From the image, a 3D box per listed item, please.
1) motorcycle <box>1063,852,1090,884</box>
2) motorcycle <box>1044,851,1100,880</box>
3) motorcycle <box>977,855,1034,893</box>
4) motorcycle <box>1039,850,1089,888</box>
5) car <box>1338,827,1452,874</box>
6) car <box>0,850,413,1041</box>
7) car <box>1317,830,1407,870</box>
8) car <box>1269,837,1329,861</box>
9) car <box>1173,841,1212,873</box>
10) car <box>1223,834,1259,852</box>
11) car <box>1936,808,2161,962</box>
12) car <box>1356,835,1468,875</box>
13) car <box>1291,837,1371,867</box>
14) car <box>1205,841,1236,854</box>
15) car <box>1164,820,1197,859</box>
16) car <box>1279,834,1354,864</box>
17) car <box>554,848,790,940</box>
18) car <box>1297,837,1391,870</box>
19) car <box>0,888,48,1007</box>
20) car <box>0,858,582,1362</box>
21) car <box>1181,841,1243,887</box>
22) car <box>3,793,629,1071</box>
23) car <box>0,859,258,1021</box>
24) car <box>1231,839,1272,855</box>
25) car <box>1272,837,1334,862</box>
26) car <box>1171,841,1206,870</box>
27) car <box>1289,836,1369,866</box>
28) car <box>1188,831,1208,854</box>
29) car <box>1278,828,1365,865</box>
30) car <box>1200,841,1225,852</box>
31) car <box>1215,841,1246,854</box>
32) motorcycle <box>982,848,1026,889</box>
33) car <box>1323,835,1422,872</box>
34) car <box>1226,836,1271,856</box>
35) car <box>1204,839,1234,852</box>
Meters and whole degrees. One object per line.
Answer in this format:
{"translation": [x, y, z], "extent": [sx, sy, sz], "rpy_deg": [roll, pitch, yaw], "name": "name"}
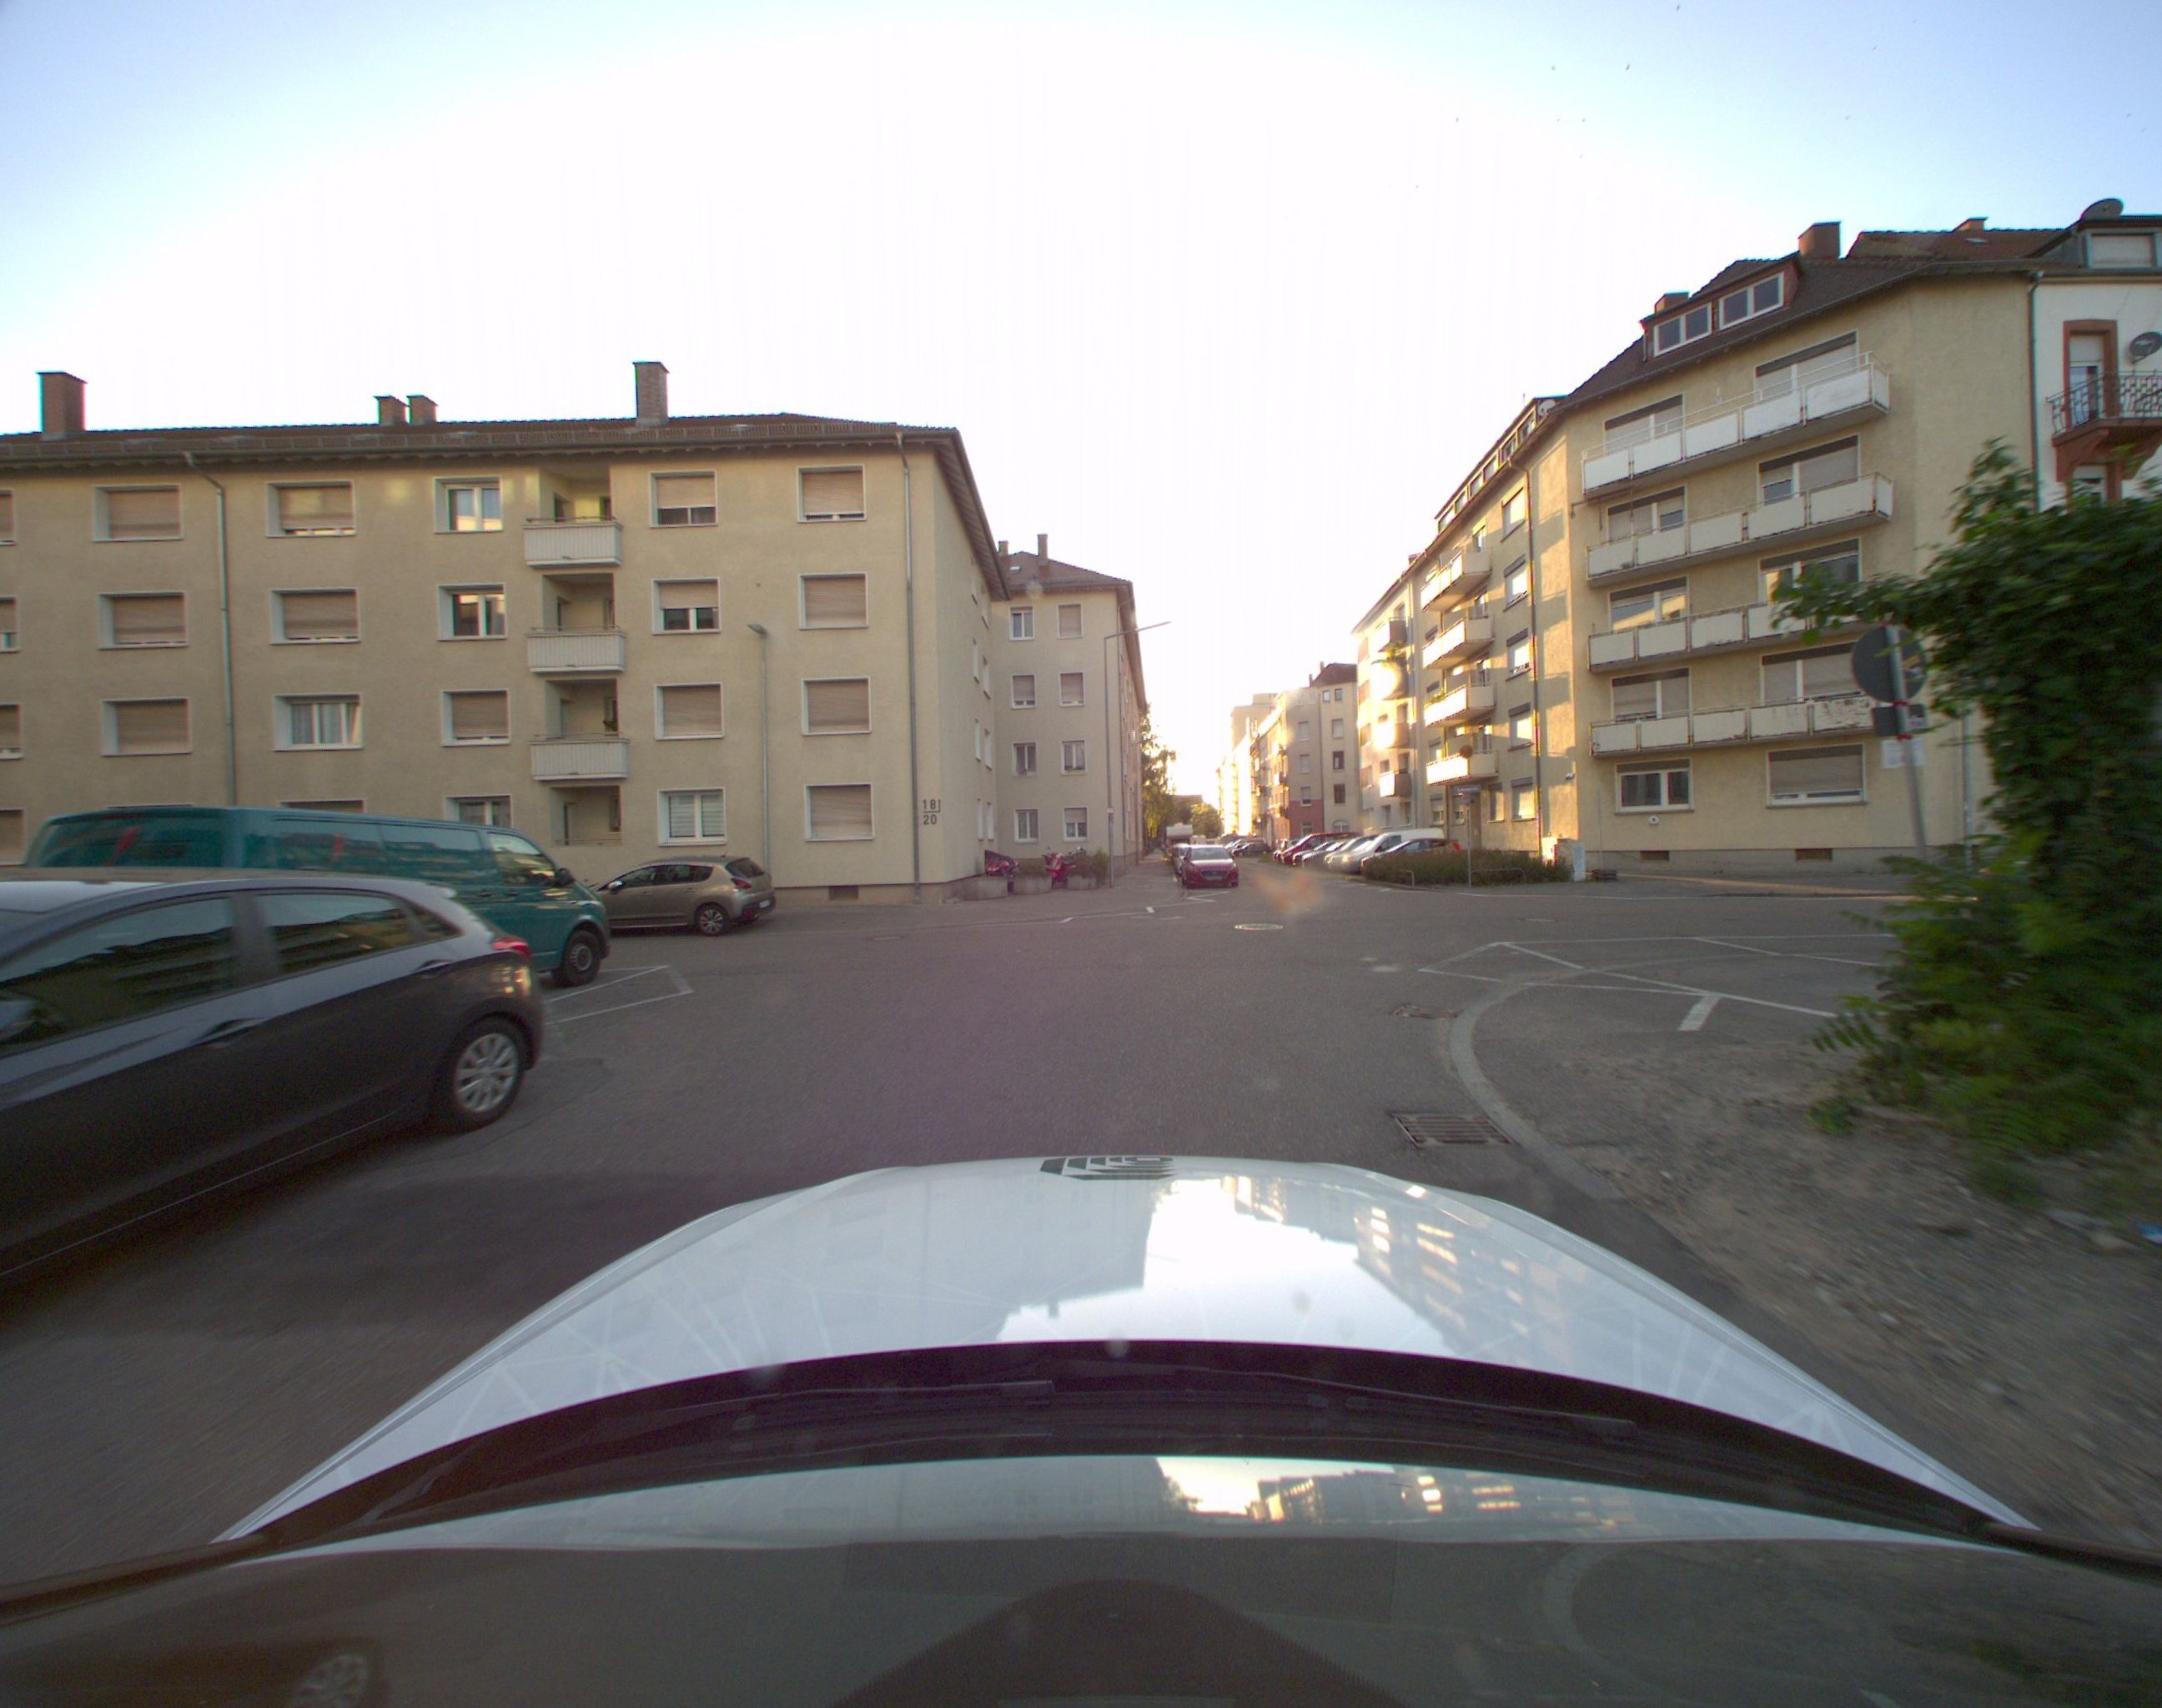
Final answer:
{"translation": [-0.154, 0.487, 29.672], "extent": [0.678, 1.079, 2.038], "rpy_deg": [-1, 0, 7], "name": "motorcycle"}
{"translation": [-0.349, 0.457, 31.896], "extent": [2.107, 1.105, 0.563], "rpy_deg": [-1, 0, 17], "name": "motorcycle"}
{"translation": [-2.283, 0.592, 24.982], "extent": [0.716, 1.079, 2.093], "rpy_deg": [-1, 0, 26], "name": "motorcycle"}
{"translation": [-0.551, 0.483, 27.071], "extent": [0.682, 1.160, 2.047], "rpy_deg": [-1, 0, 30], "name": "motorcycle"}
{"translation": [13.468, -0.143, 35.091], "extent": [4.258, 1.860, 1.744], "rpy_deg": [-2, 0, 5], "name": "car"}
{"translation": [-9.592, 0.808, 8.350], "extent": [1.772, 1.550, 4.333], "rpy_deg": [-1, -1, 2], "name": "car"}
{"translation": [13.588, -0.180, 39.548], "extent": [3.772, 1.695, 1.658], "rpy_deg": [-3, 0, 5], "name": "car"}
{"translation": [15.323, -0.322, 57.359], "extent": [3.794, 1.428, 1.637], "rpy_deg": [-3, 0, 4], "name": "car"}
{"translation": [5.524, 0.134, 40.617], "extent": [1.608, 1.473, 3.509], "rpy_deg": [-3, 0, 4], "name": "car"}
{"translation": [19.394, -1.298, 98.745], "extent": [3.972, 2.013, 2.001], "rpy_deg": [-2, 0, 1], "name": "car"}
{"translation": [11.716, 0.266, 7.760], "extent": [1.825, 1.531, 4.715], "rpy_deg": [-2, -1, -8], "name": "car"}
{"translation": [13.332, 0.043, 32.995], "extent": [3.853, 1.492, 1.744], "rpy_deg": [-2, 0, 5], "name": "car"}
{"translation": [13.737, -0.117, 44.901], "extent": [3.858, 1.416, 1.638], "rpy_deg": [-3, 0, 3], "name": "car"}
{"translation": [19.216, -0.920, 112.311], "extent": [3.968, 1.530, 1.661], "rpy_deg": [-3, 0, 5], "name": "car"}
{"translation": [9.050, -1.297, 74.371], "extent": [2.606, 3.268, 7.710], "rpy_deg": [-3, 0, 6], "name": "car"}
{"translation": [15.108, -0.295, 52.427], "extent": [4.303, 1.637, 1.820], "rpy_deg": [-3, 0, 4], "name": "car"}
{"translation": [-8.637, 0.808, 17.486], "extent": [3.993, 1.617, 1.882], "rpy_deg": [-2, 5, 0], "name": "car"}
{"translation": [13.383, -0.020, 41.680], "extent": [4.287, 1.449, 1.658], "rpy_deg": [-3, 0, 5], "name": "car"}
{"translation": [-14.287, 1.142, 8.429], "extent": [1.722, 1.456, 4.201], "rpy_deg": [-1, -1, 2], "name": "car"}
{"translation": [-4.136, 0.793, 3.005], "extent": [1.772, 1.479, 4.334], "rpy_deg": [0, 1, 2], "name": "car"}
{"translation": [4.622, 0.330, 29.259], "extent": [1.837, 1.473, 4.083], "rpy_deg": [-2, 0, 4], "name": "car"}
{"translation": [-6.901, 0.581, 8.291], "extent": [1.791, 1.980, 4.691], "rpy_deg": [-2, 0, 2], "name": "car"}
{"translation": [-11.912, 0.912, 8.698], "extent": [1.722, 1.659, 4.333], "rpy_deg": [-1, -1, 2], "name": "car"}
{"translation": [17.969, -0.732, 85.816], "extent": [3.968, 1.530, 1.661], "rpy_deg": [-3, 0, 5], "name": "car"}
{"translation": [14.914, -0.281, 54.863], "extent": [3.794, 1.428, 1.637], "rpy_deg": [-3, 0, 4], "name": "car"}
{"translation": [5.953, 0.065, 45.456], "extent": [1.652, 1.434, 4.036], "rpy_deg": [-3, 0, 4], "name": "car"}
{"translation": [14.257, -0.147, 46.998], "extent": [4.125, 1.471, 1.638], "rpy_deg": [-3, 0, 4], "name": "car"}
{"translation": [15.038, -1.468, 105.237], "extent": [2.119, 2.717, 4.839], "rpy_deg": [-3, 0, 4], "name": "car"}
{"translation": [14.556, -0.457, 49.523], "extent": [4.700, 1.909, 2.062], "rpy_deg": [-3, 0, 4], "name": "car"}
{"translation": [21.755, -1.205, 134.906], "extent": [3.968, 1.530, 1.661], "rpy_deg": [-3, 0, 5], "name": "car"}
{"translation": [20.153, -0.943, 109.717], "extent": [3.968, 1.530, 1.661], "rpy_deg": [-3, 0, 5], "name": "car"}
{"translation": [-2.552, 0.464, 27.280], "extent": [0.718, 1.264, 2.090], "rpy_deg": [-1, 0, 16], "name": "motorcycle"}
{"translation": [13.270, -0.035, 37.241], "extent": [3.936, 1.522, 1.709], "rpy_deg": [-2, 0, 5], "name": "car"}
{"translation": [19.010, -0.931, 92.813], "extent": [4.790, 1.967, 1.741], "rpy_deg": [-3, 0, 5], "name": "car"}
{"translation": [19.401, -1.170, 114.272], "extent": [3.968, 1.530, 1.661], "rpy_deg": [-3, 0, 5], "name": "car"}
